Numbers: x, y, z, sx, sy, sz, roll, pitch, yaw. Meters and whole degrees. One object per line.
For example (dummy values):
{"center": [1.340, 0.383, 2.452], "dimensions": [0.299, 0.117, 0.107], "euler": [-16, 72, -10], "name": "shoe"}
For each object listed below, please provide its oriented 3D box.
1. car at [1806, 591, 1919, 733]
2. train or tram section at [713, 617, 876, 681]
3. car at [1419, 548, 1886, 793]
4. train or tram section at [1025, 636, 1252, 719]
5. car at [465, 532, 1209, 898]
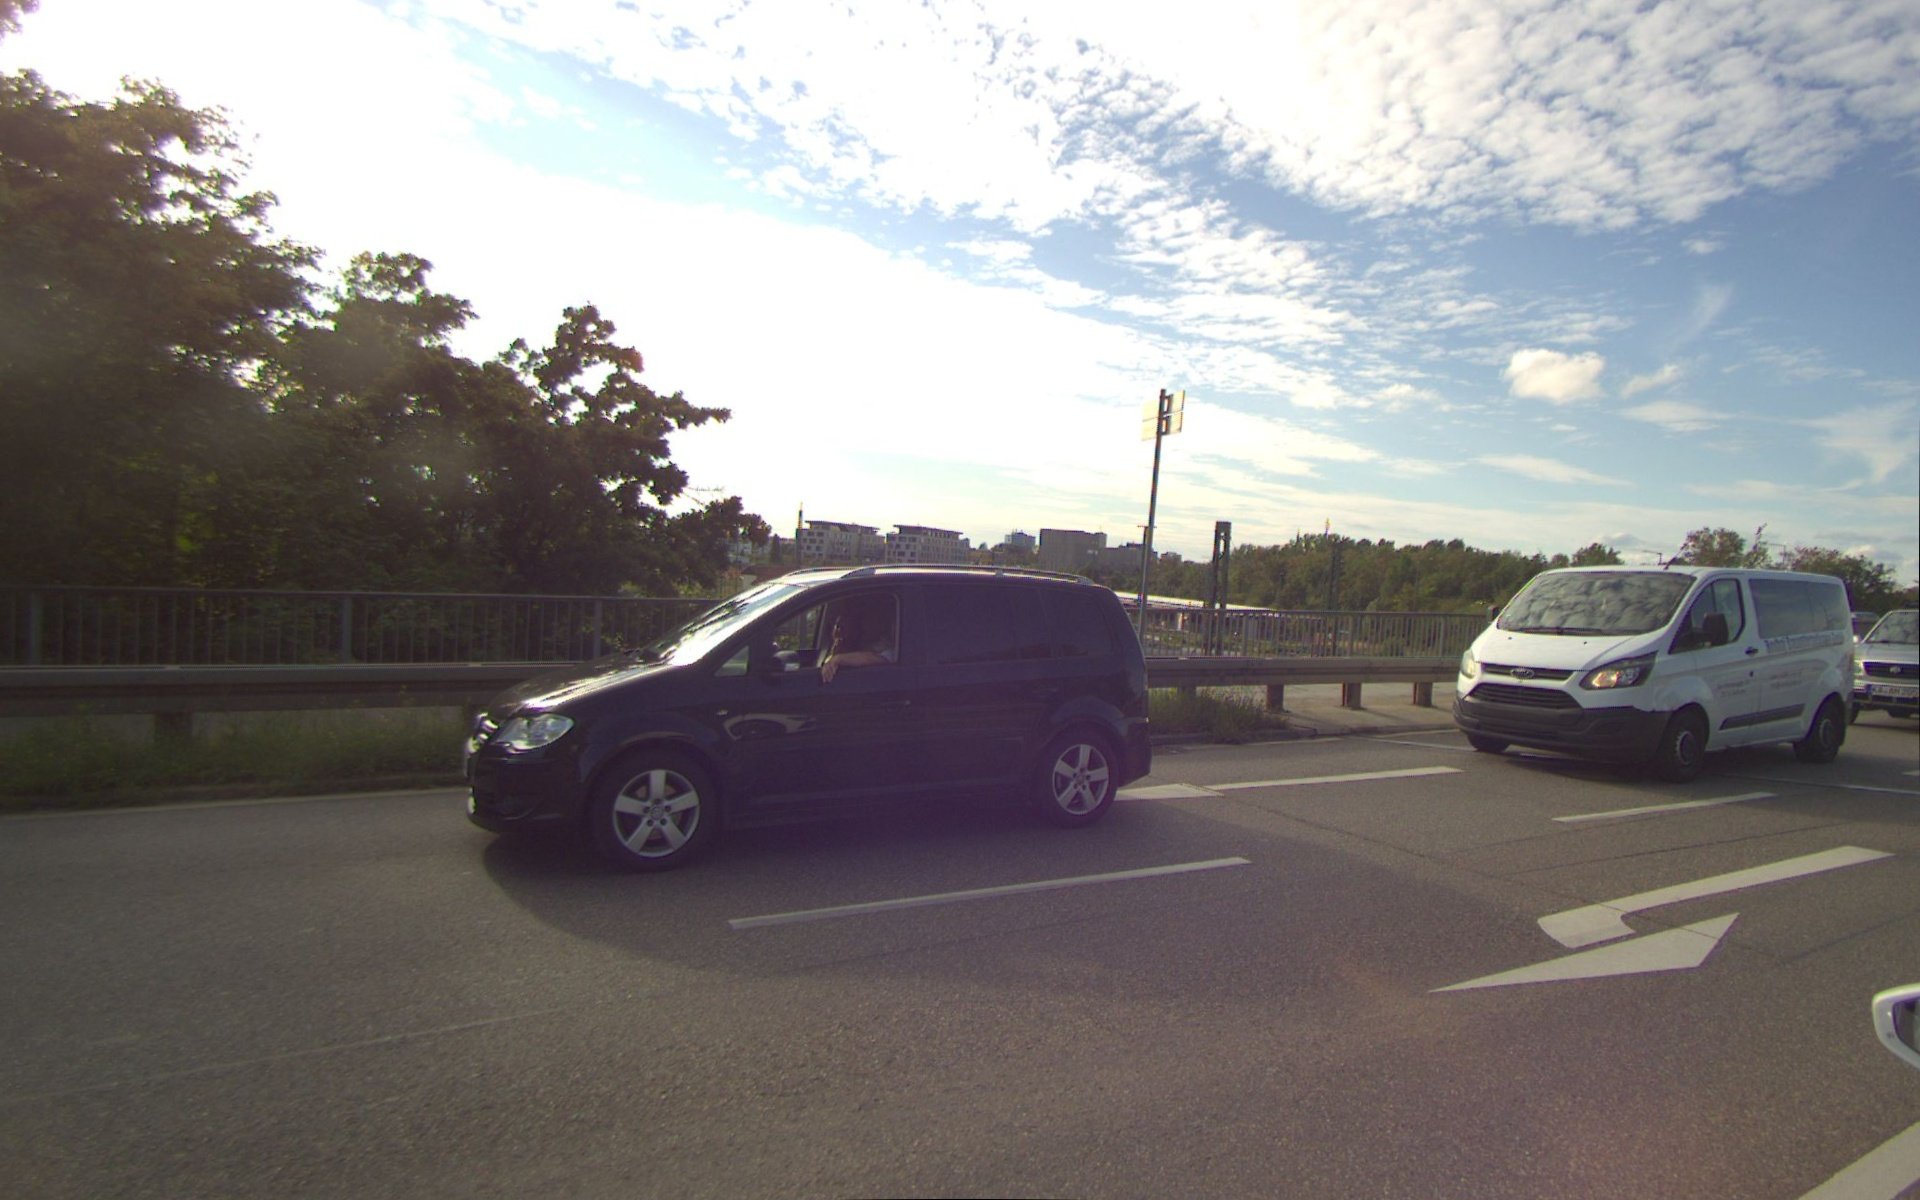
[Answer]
{"center": [13.573, 0.811, 13.877], "dimensions": [3.794, 1.769, 1.764], "euler": [1, 1, -32], "name": "car"}
{"center": [-15.273, 4.293, 91.439], "dimensions": [16.453, 4.775, 3.090], "euler": [2, 1, 31], "name": "train or tram section"}
{"center": [7.178, 0.591, 10.284], "dimensions": [4.988, 1.990, 1.975], "euler": [1, 1, -30], "name": "car"}
{"center": [12.913, 5.519, 74.467], "dimensions": [16.453, 4.775, 3.090], "euler": [2, 1, 31], "name": "train or tram section"}
{"center": [-0.681, 0.546, 6.440], "dimensions": [4.398, 1.676, 1.738], "euler": [1, 1, -29], "name": "car"}
